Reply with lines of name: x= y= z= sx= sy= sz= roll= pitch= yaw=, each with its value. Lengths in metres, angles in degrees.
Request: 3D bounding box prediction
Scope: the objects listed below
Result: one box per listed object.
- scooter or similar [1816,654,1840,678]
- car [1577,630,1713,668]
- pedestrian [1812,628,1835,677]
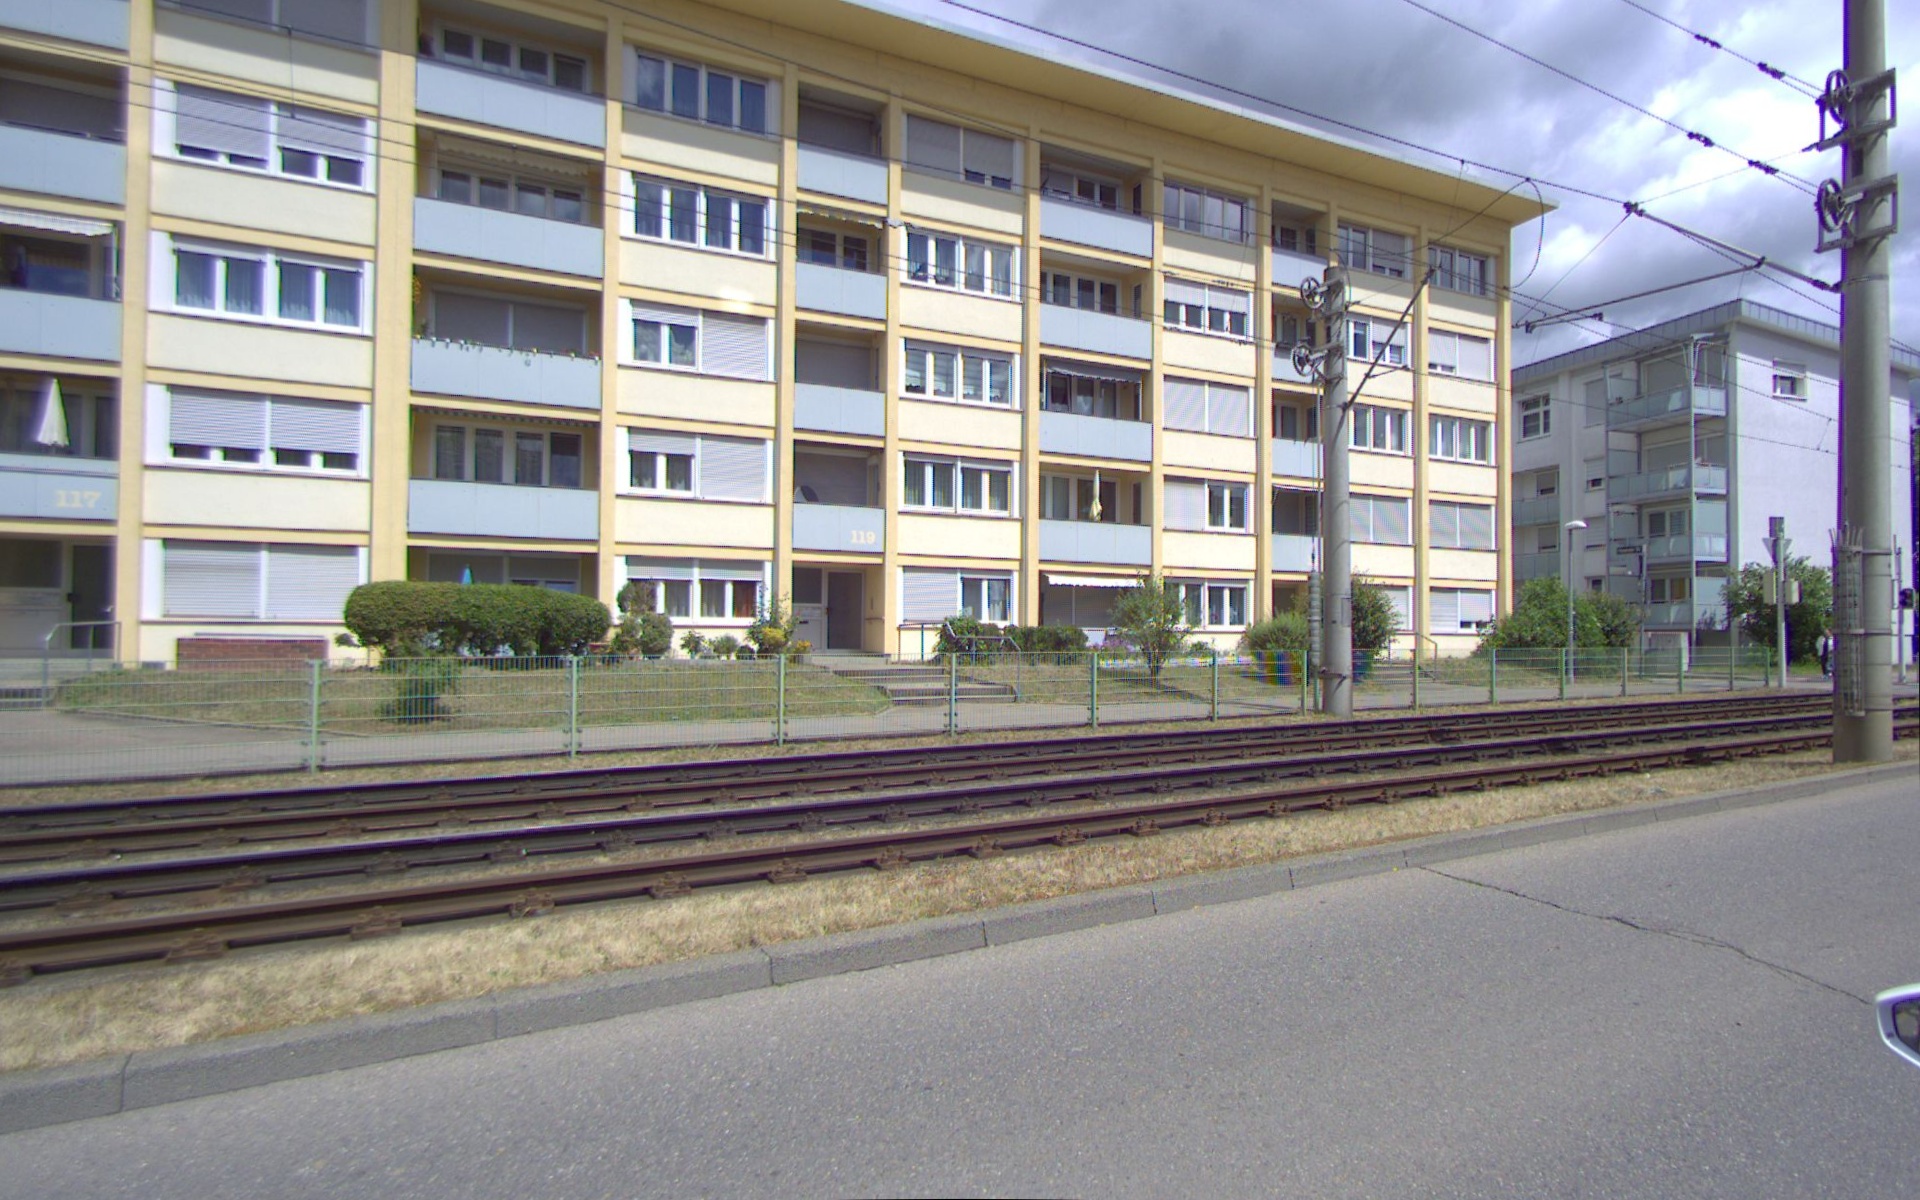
scooter or similar: x=27.987 y=2.125 z=32.378 sx=0.468 sy=0.757 sz=0.436 roll=1 pitch=-1 yaw=-25
car: x=26.344 y=1.860 z=38.784 sx=1.873 sy=1.363 sz=3.980 roll=1 pitch=-2 yaw=-21
pedestrian: x=28.214 y=1.717 z=32.819 sx=0.468 sy=1.601 sz=0.436 roll=1 pitch=-1 yaw=-25
